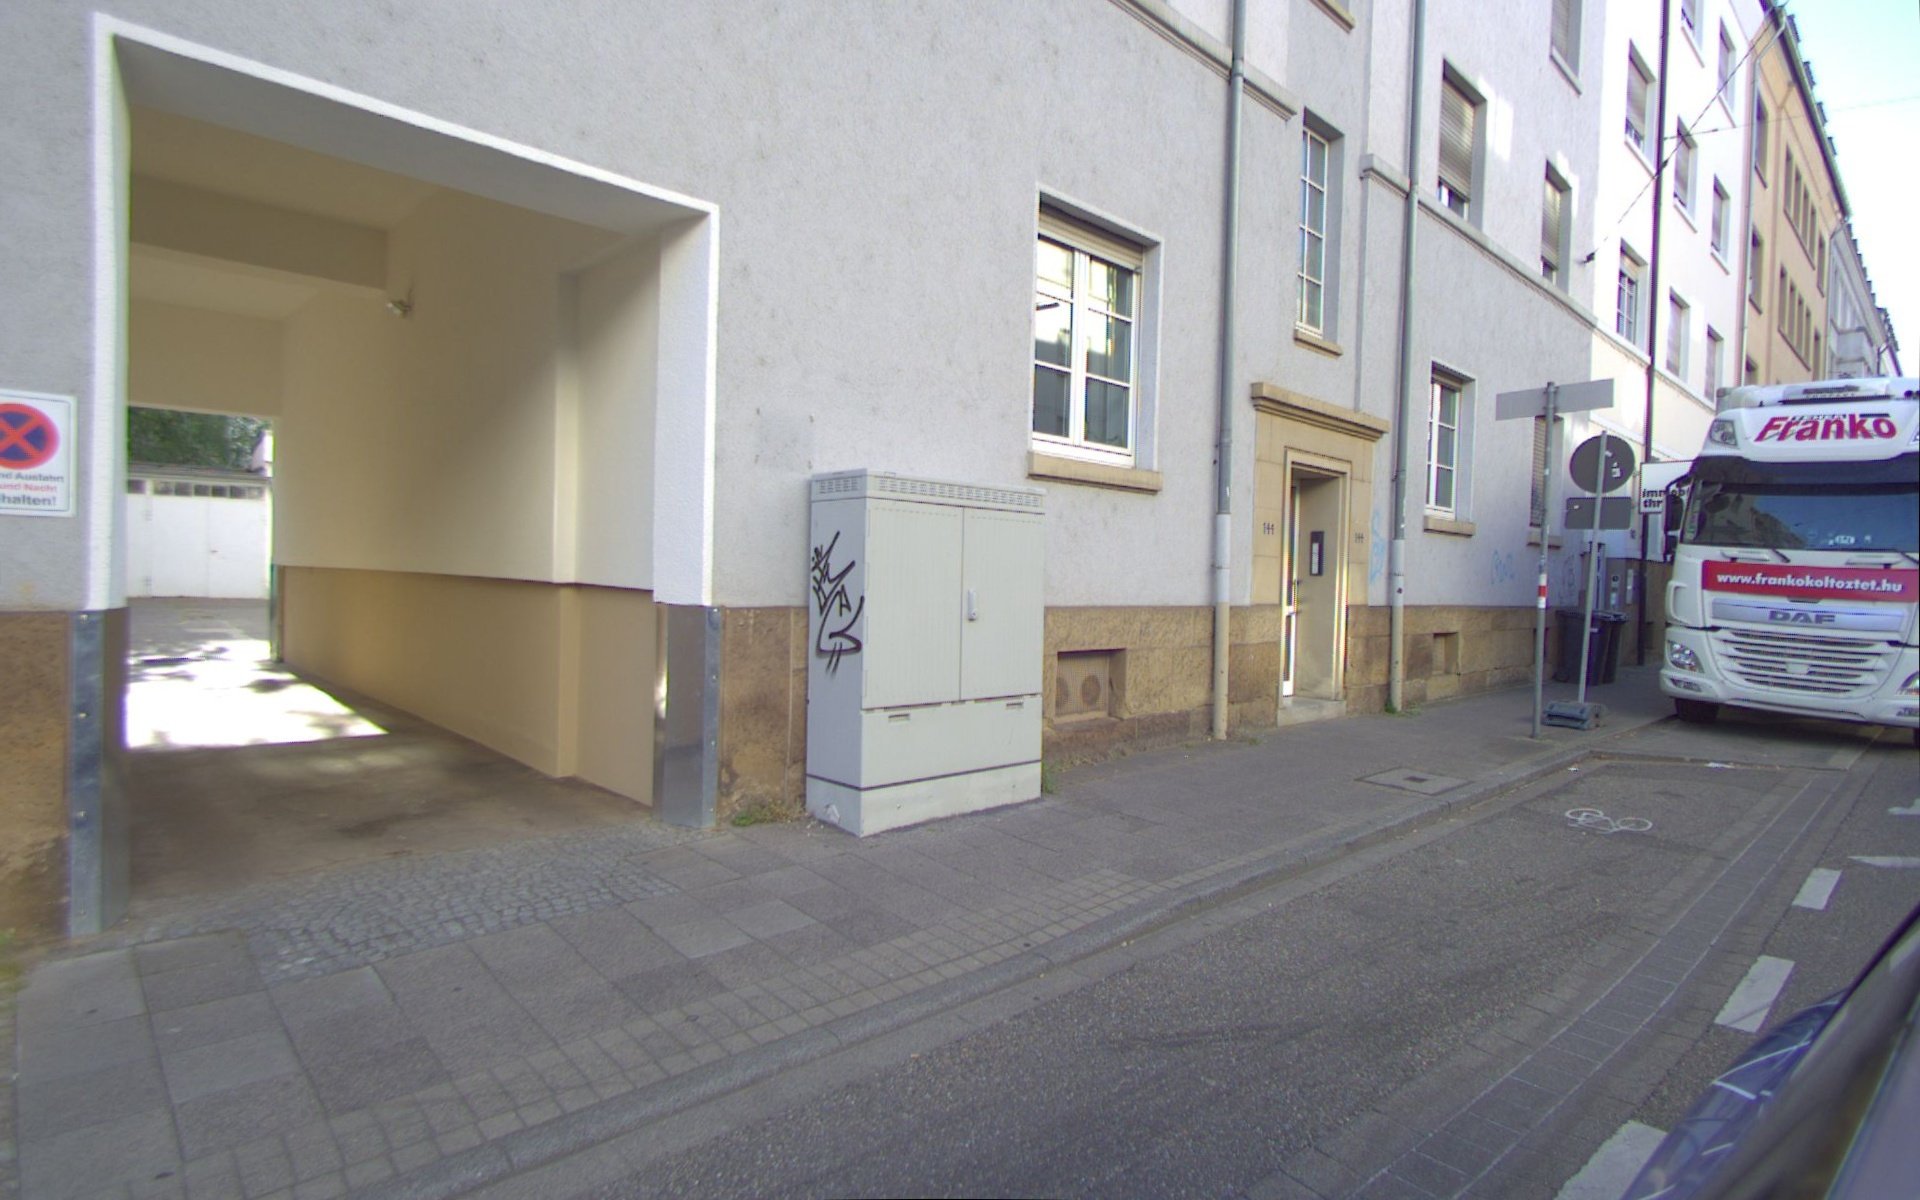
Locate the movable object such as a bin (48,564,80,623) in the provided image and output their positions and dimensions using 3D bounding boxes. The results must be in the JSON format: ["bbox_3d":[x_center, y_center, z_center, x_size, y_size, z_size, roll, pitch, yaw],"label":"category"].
[{"bbox_3d":[-14.353,-0.109,16.207,0.366,0.919,0.420,0,3,-44],"label":"movable object such as a bin"}]

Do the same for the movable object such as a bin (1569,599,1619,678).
[{"bbox_3d":[9.138,0.538,14.587,0.511,1.106,0.488,0,0,45],"label":"movable object such as a bin"}]

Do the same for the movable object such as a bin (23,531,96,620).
[{"bbox_3d":[-14.895,-0.418,16.743,0.874,1.409,0.758,0,4,-44],"label":"movable object such as a bin"}]

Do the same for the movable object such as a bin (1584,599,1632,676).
[{"bbox_3d":[9.586,0.535,14.969,0.511,1.106,0.488,0,0,45],"label":"movable object such as a bin"}]

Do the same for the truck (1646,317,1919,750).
[{"bbox_3d":[12.567,-0.608,13.865,11.511,4.012,2.894,0,0,-44],"label":"truck"}]
